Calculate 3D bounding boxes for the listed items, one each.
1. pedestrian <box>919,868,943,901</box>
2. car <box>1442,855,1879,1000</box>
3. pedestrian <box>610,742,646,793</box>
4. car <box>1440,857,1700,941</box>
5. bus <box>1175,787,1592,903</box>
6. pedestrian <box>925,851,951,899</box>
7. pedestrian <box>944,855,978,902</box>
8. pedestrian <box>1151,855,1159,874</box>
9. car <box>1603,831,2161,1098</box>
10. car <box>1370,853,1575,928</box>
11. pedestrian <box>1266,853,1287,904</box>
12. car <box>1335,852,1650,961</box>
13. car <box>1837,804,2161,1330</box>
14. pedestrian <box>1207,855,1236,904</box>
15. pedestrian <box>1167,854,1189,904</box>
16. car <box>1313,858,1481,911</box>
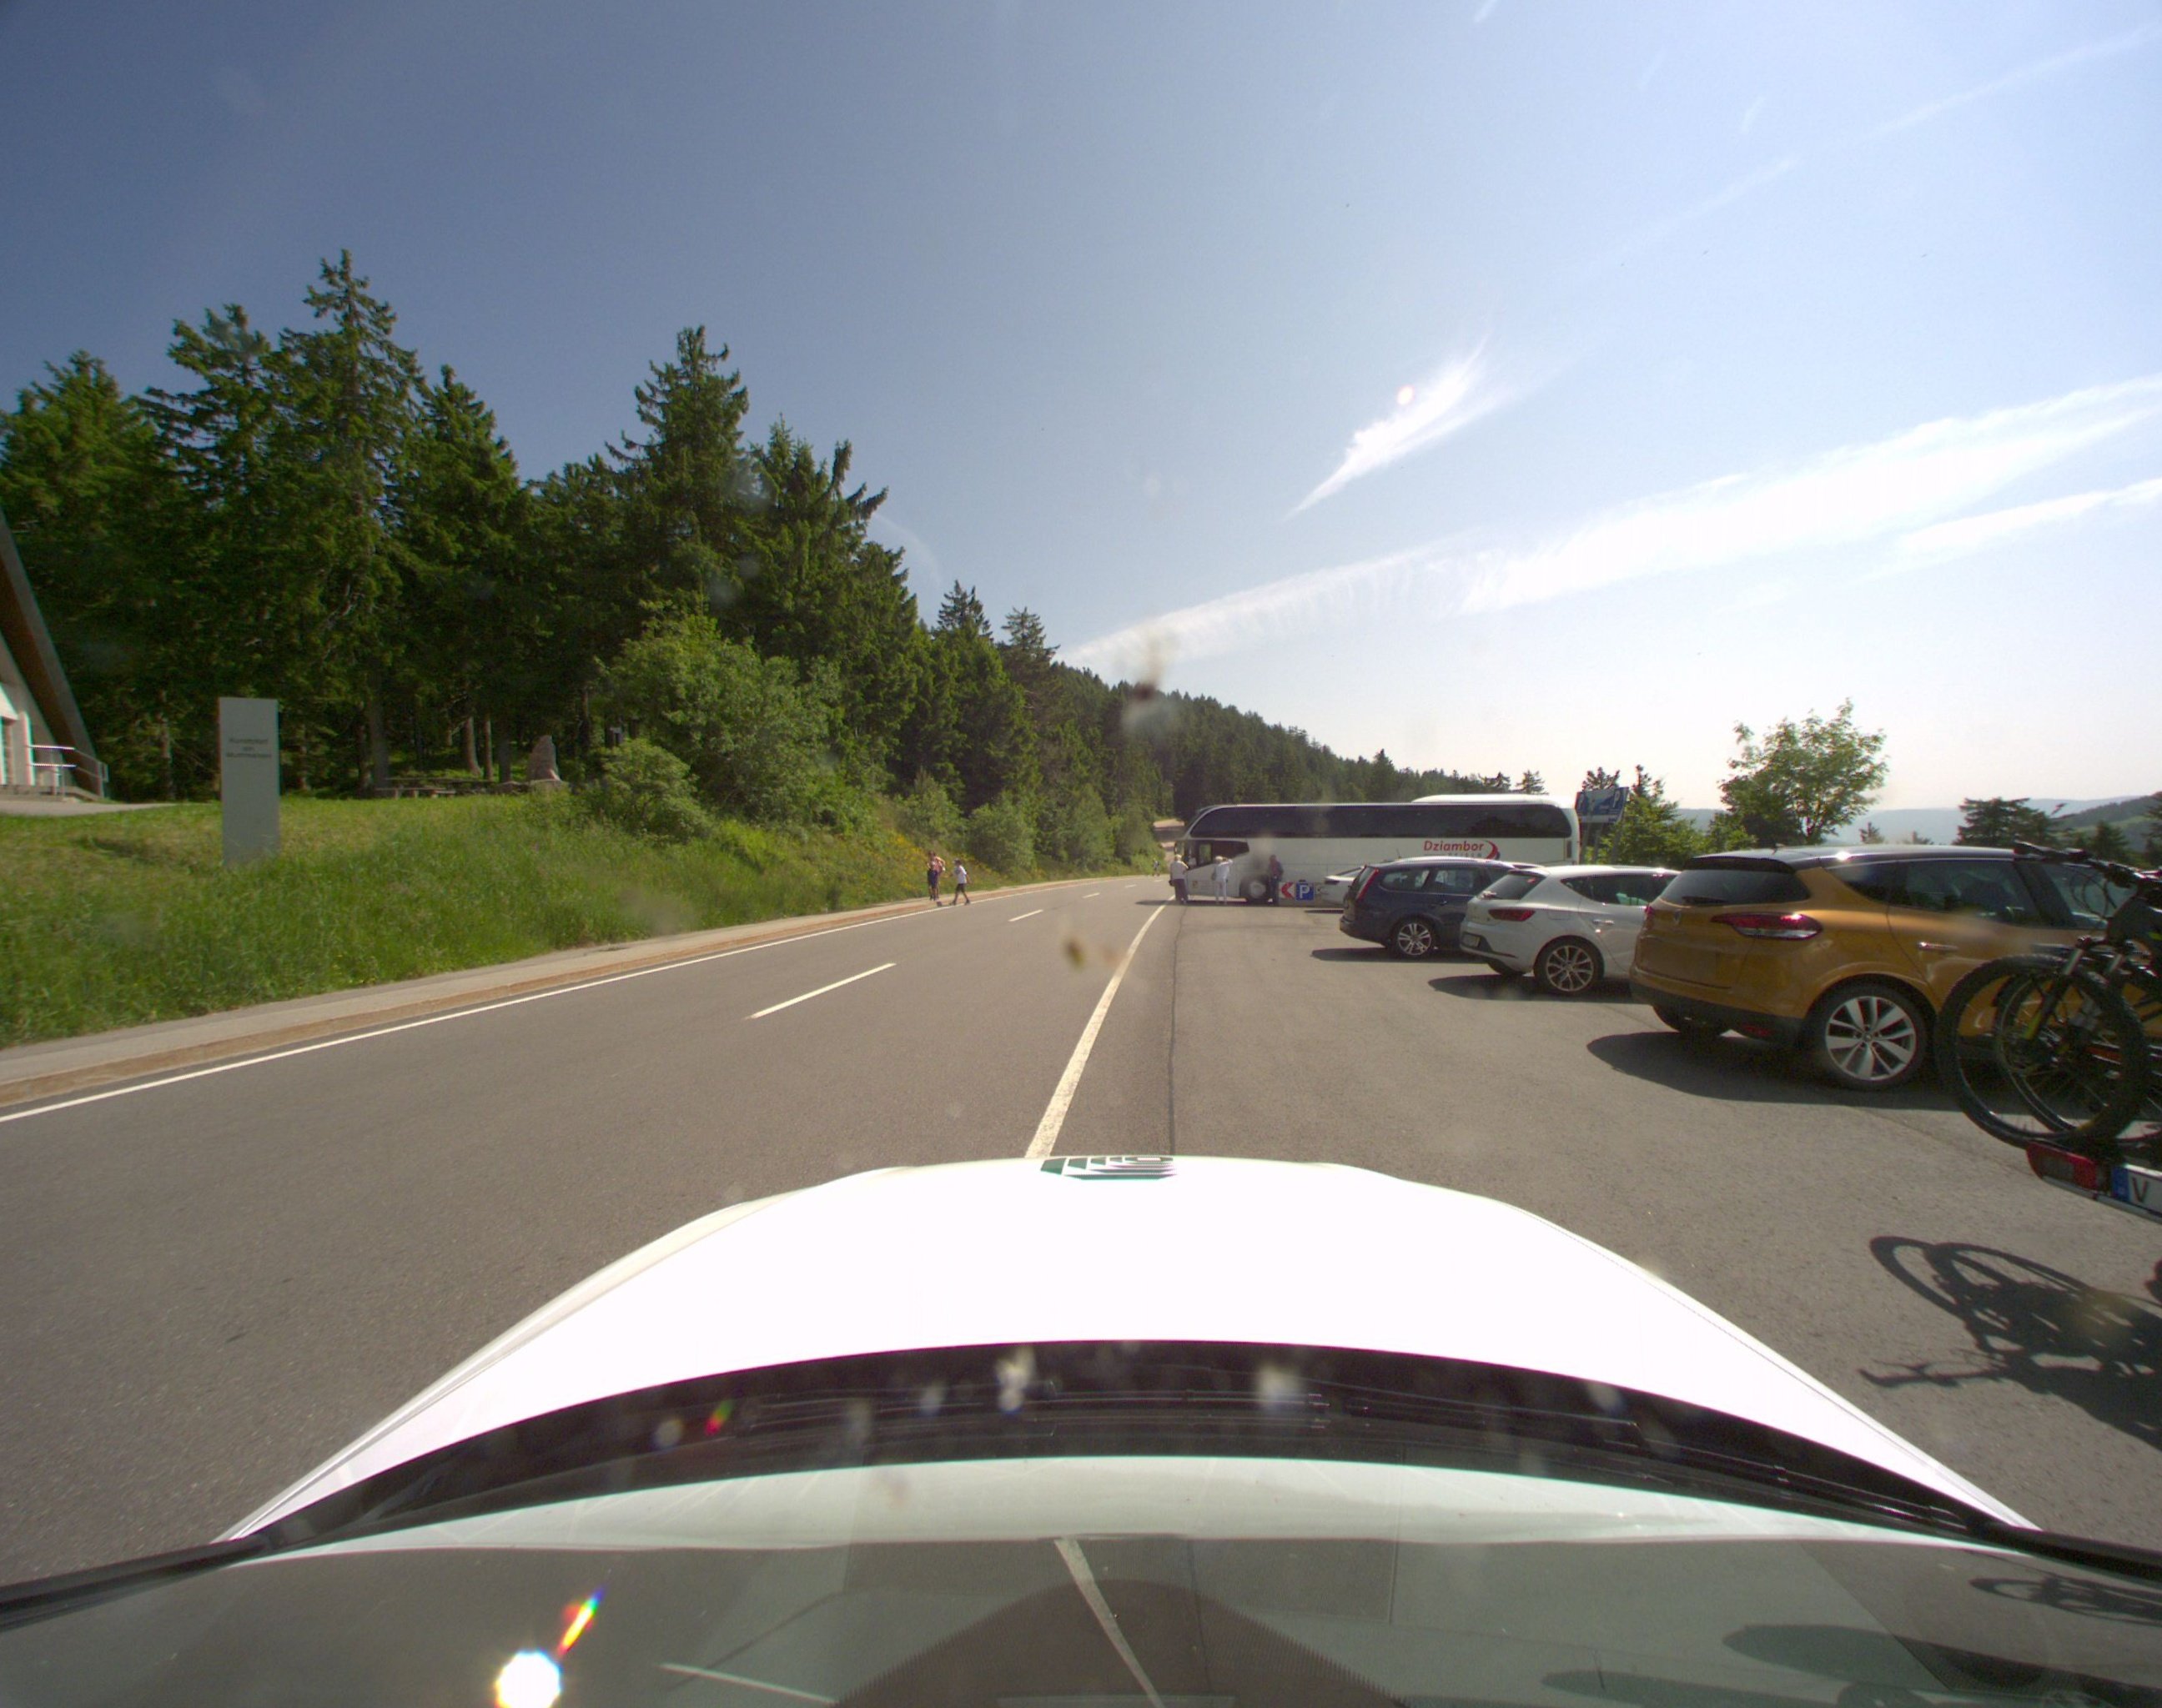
[{"bbox_3d":[-5.079,1.025,27.619,0.565,1.102,0.747,-1,0,9],"label":"pedestrian"},{"bbox_3d":[6.495,0.778,9.491,3.864,1.420,1.616,1,-1,6],"label":"car"},{"bbox_3d":[-15.456,-2.941,27.808,0.806,1.629,0.742,0,-1,2],"label":"pedestrian"},{"bbox_3d":[9.237,0.807,15.716,3.961,1.420,1.772,1,0,11],"label":"car"},{"bbox_3d":[9.813,-0.217,27.875,12.754,3.577,2.850,-1,-1,14],"label":"bus"},{"bbox_3d":[-5.023,0.716,28.632,0.572,1.643,0.896,-1,0,9],"label":"pedestrian"},{"bbox_3d":[-3.967,0.798,26.923,0.884,1.538,0.575,-1,0,-40],"label":"pedestrian"},{"bbox_3d":[6.864,1.010,75.290,0.679,1.746,0.827,0,-1,7],"label":"pedestrian"},{"bbox_3d":[6.374,0.713,6.036,3.859,1.615,1.712,2,0,5],"label":"car"},{"bbox_3d":[8.864,0.787,18.748,3.961,1.574,1.772,0,0,11],"label":"car"},{"bbox_3d":[6.424,0.795,26.762,0.639,1.643,0.748,-1,0,14],"label":"pedestrian"},{"bbox_3d":[6.202,0.743,12.719,4.105,1.544,1.676,0,0,9],"label":"car"},{"bbox_3d":[5.585,0.699,2.571,4.457,1.626,2.015,1,0,3],"label":"car"},{"bbox_3d":[4.650,0.837,26.937,0.638,1.596,0.749,-1,0,39],"label":"pedestrian"},{"bbox_3d":[3.257,0.823,27.369,0.703,1.643,0.746,-1,0,5],"label":"pedestrian"},{"bbox_3d":[9.009,0.844,23.552,4.390,1.396,1.726,0,0,16],"label":"car"}]
